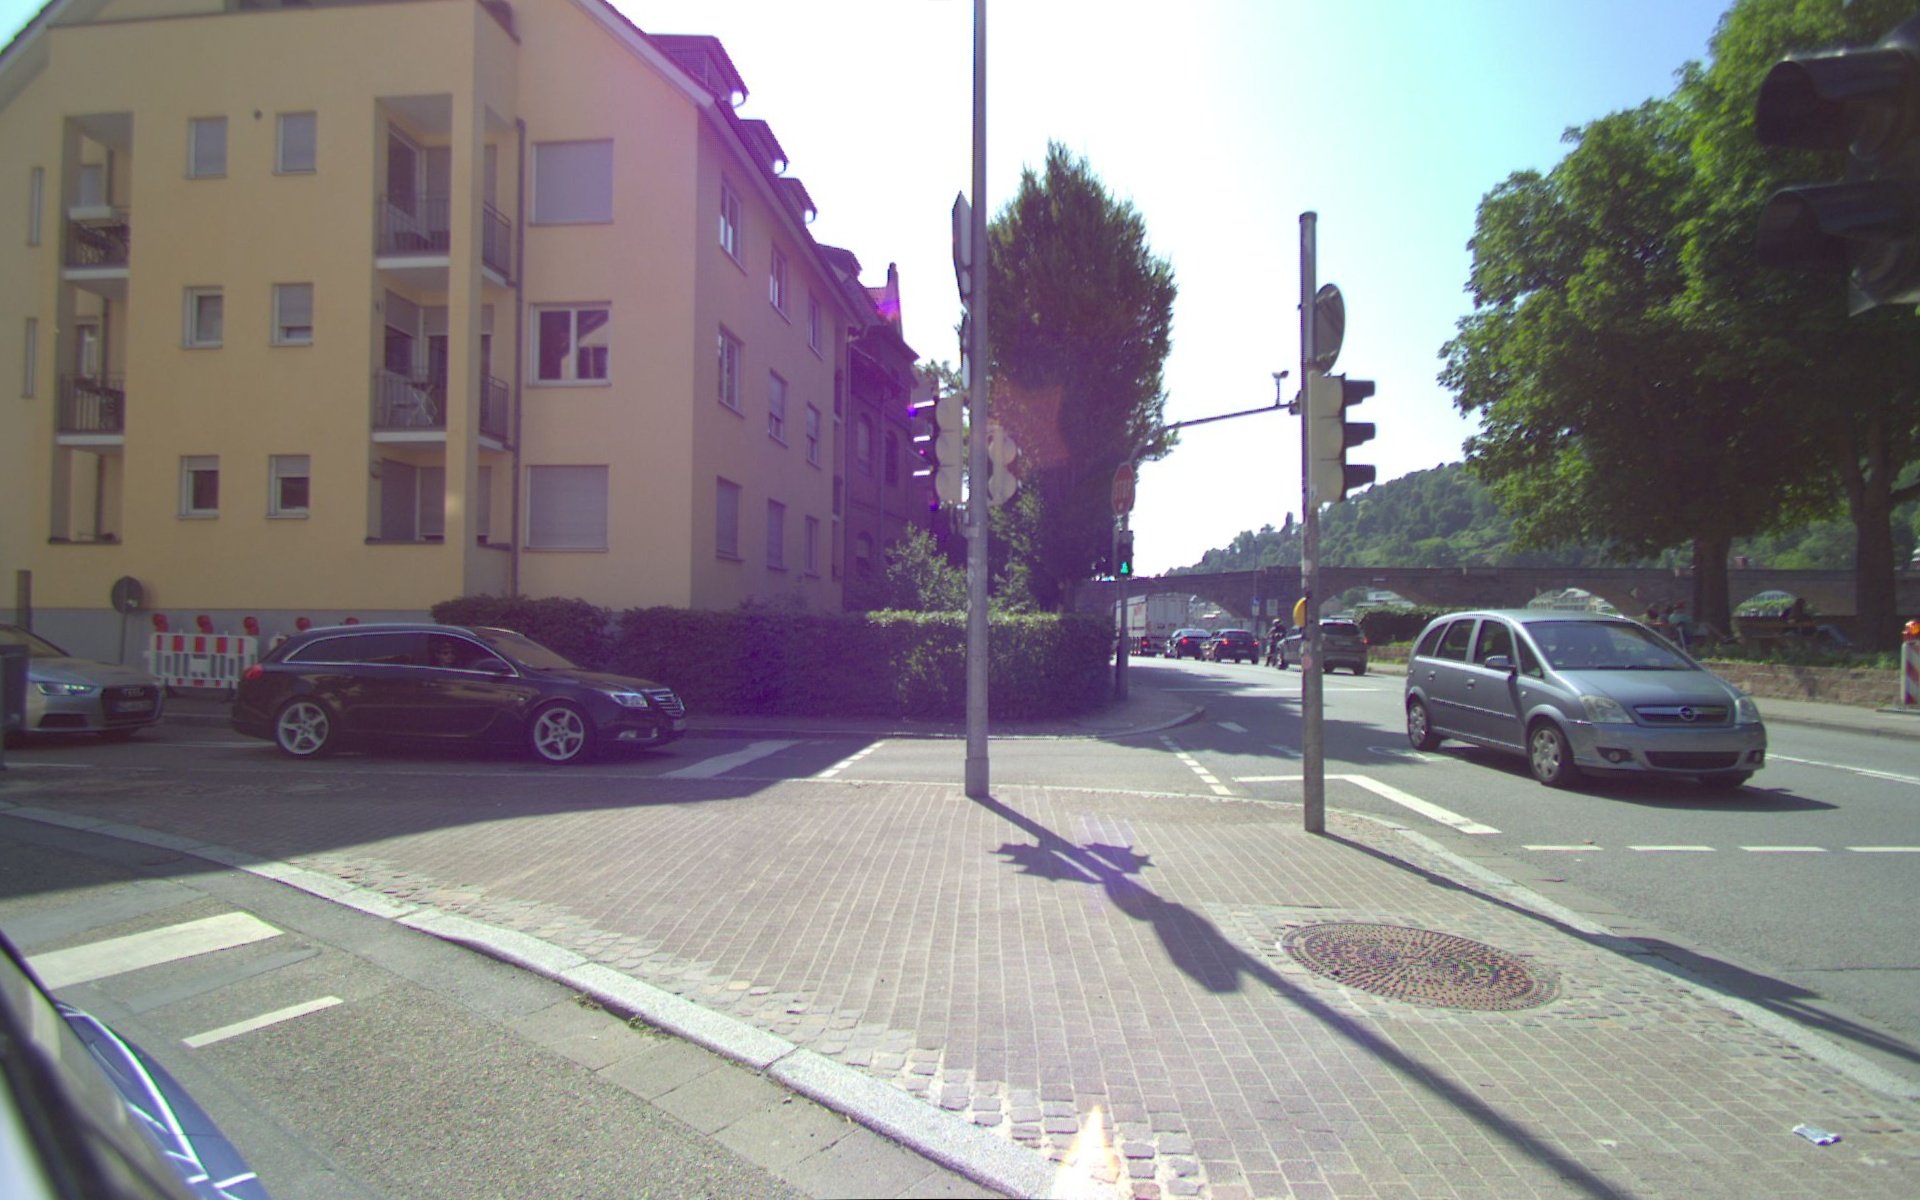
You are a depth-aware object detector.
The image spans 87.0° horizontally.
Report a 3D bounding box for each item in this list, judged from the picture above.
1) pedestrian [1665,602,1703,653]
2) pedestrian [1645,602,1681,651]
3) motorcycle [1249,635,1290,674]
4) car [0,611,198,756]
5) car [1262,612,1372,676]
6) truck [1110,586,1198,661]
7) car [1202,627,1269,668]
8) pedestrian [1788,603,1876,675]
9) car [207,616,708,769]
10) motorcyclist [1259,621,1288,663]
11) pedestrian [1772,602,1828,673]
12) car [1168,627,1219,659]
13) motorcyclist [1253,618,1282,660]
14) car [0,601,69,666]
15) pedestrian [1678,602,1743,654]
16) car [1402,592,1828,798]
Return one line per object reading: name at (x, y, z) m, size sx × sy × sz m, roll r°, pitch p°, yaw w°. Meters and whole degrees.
pedestrian at (18.453, 0.692, 25.816) m, size 0.624 × 1.280 × 0.467 m, roll 1°, pitch -2°, yaw 7°
pedestrian at (18.539, 0.691, 26.698) m, size 0.624 × 1.280 × 0.467 m, roll 1°, pitch -2°, yaw 7°
motorcycle at (11.464, 1.989, 37.529) m, size 0.753 × 1.387 × 2.471 m, roll 1°, pitch -2°, yaw 0°
car at (-11.574, 0.872, 11.598) m, size 4.324 × 1.504 × 1.876 m, roll 1°, pitch -2°, yaw 2°
car at (11.210, 1.326, 32.080) m, size 1.818 × 1.766 × 4.409 m, roll 3°, pitch -1°, yaw 0°
truck at (12.009, 1.488, 63.999) m, size 3.169 × 4.246 × 12.762 m, roll 0°, pitch -2°, yaw 0°
car at (11.558, 1.971, 42.696) m, size 1.974 × 1.608 × 3.994 m, roll 0°, pitch -2°, yaw 4°
pedestrian at (18.460, 0.822, 21.438) m, size 1.368 × 1.490 × 0.467 m, roll 1°, pitch -2°, yaw 7°
car at (-5.341, 0.981, 11.158) m, size 4.661 × 1.473 × 1.718 m, roll 1°, pitch -4°, yaw 2°
motorcyclist at (11.472, 1.524, 37.011) m, size 0.807 × 1.504 × 0.773 m, roll 1°, pitch -2°, yaw 0°
pedestrian at (18.262, 0.812, 22.010) m, size 0.795 × 1.504 × 0.467 m, roll 1°, pitch -2°, yaw 7°
car at (11.605, 2.104, 50.512) m, size 1.900 × 1.519 × 3.994 m, roll 0°, pitch -2°, yaw 4°
motorcyclist at (11.482, 1.450, 37.802) m, size 0.807 × 1.506 × 0.874 m, roll 0°, pitch 1°, yaw 0°
car at (-24.129, 0.809, 24.274) m, size 1.829 × 1.556 × 3.994 m, roll 0°, pitch -1°, yaw 5°
pedestrian at (18.711, 0.694, 25.236) m, size 1.209 × 1.280 × 0.467 m, roll 1°, pitch -2°, yaw 7°
car at (6.035, 0.799, 9.942) m, size 1.669 × 1.623 × 3.739 m, roll -1°, pitch -1°, yaw -1°
